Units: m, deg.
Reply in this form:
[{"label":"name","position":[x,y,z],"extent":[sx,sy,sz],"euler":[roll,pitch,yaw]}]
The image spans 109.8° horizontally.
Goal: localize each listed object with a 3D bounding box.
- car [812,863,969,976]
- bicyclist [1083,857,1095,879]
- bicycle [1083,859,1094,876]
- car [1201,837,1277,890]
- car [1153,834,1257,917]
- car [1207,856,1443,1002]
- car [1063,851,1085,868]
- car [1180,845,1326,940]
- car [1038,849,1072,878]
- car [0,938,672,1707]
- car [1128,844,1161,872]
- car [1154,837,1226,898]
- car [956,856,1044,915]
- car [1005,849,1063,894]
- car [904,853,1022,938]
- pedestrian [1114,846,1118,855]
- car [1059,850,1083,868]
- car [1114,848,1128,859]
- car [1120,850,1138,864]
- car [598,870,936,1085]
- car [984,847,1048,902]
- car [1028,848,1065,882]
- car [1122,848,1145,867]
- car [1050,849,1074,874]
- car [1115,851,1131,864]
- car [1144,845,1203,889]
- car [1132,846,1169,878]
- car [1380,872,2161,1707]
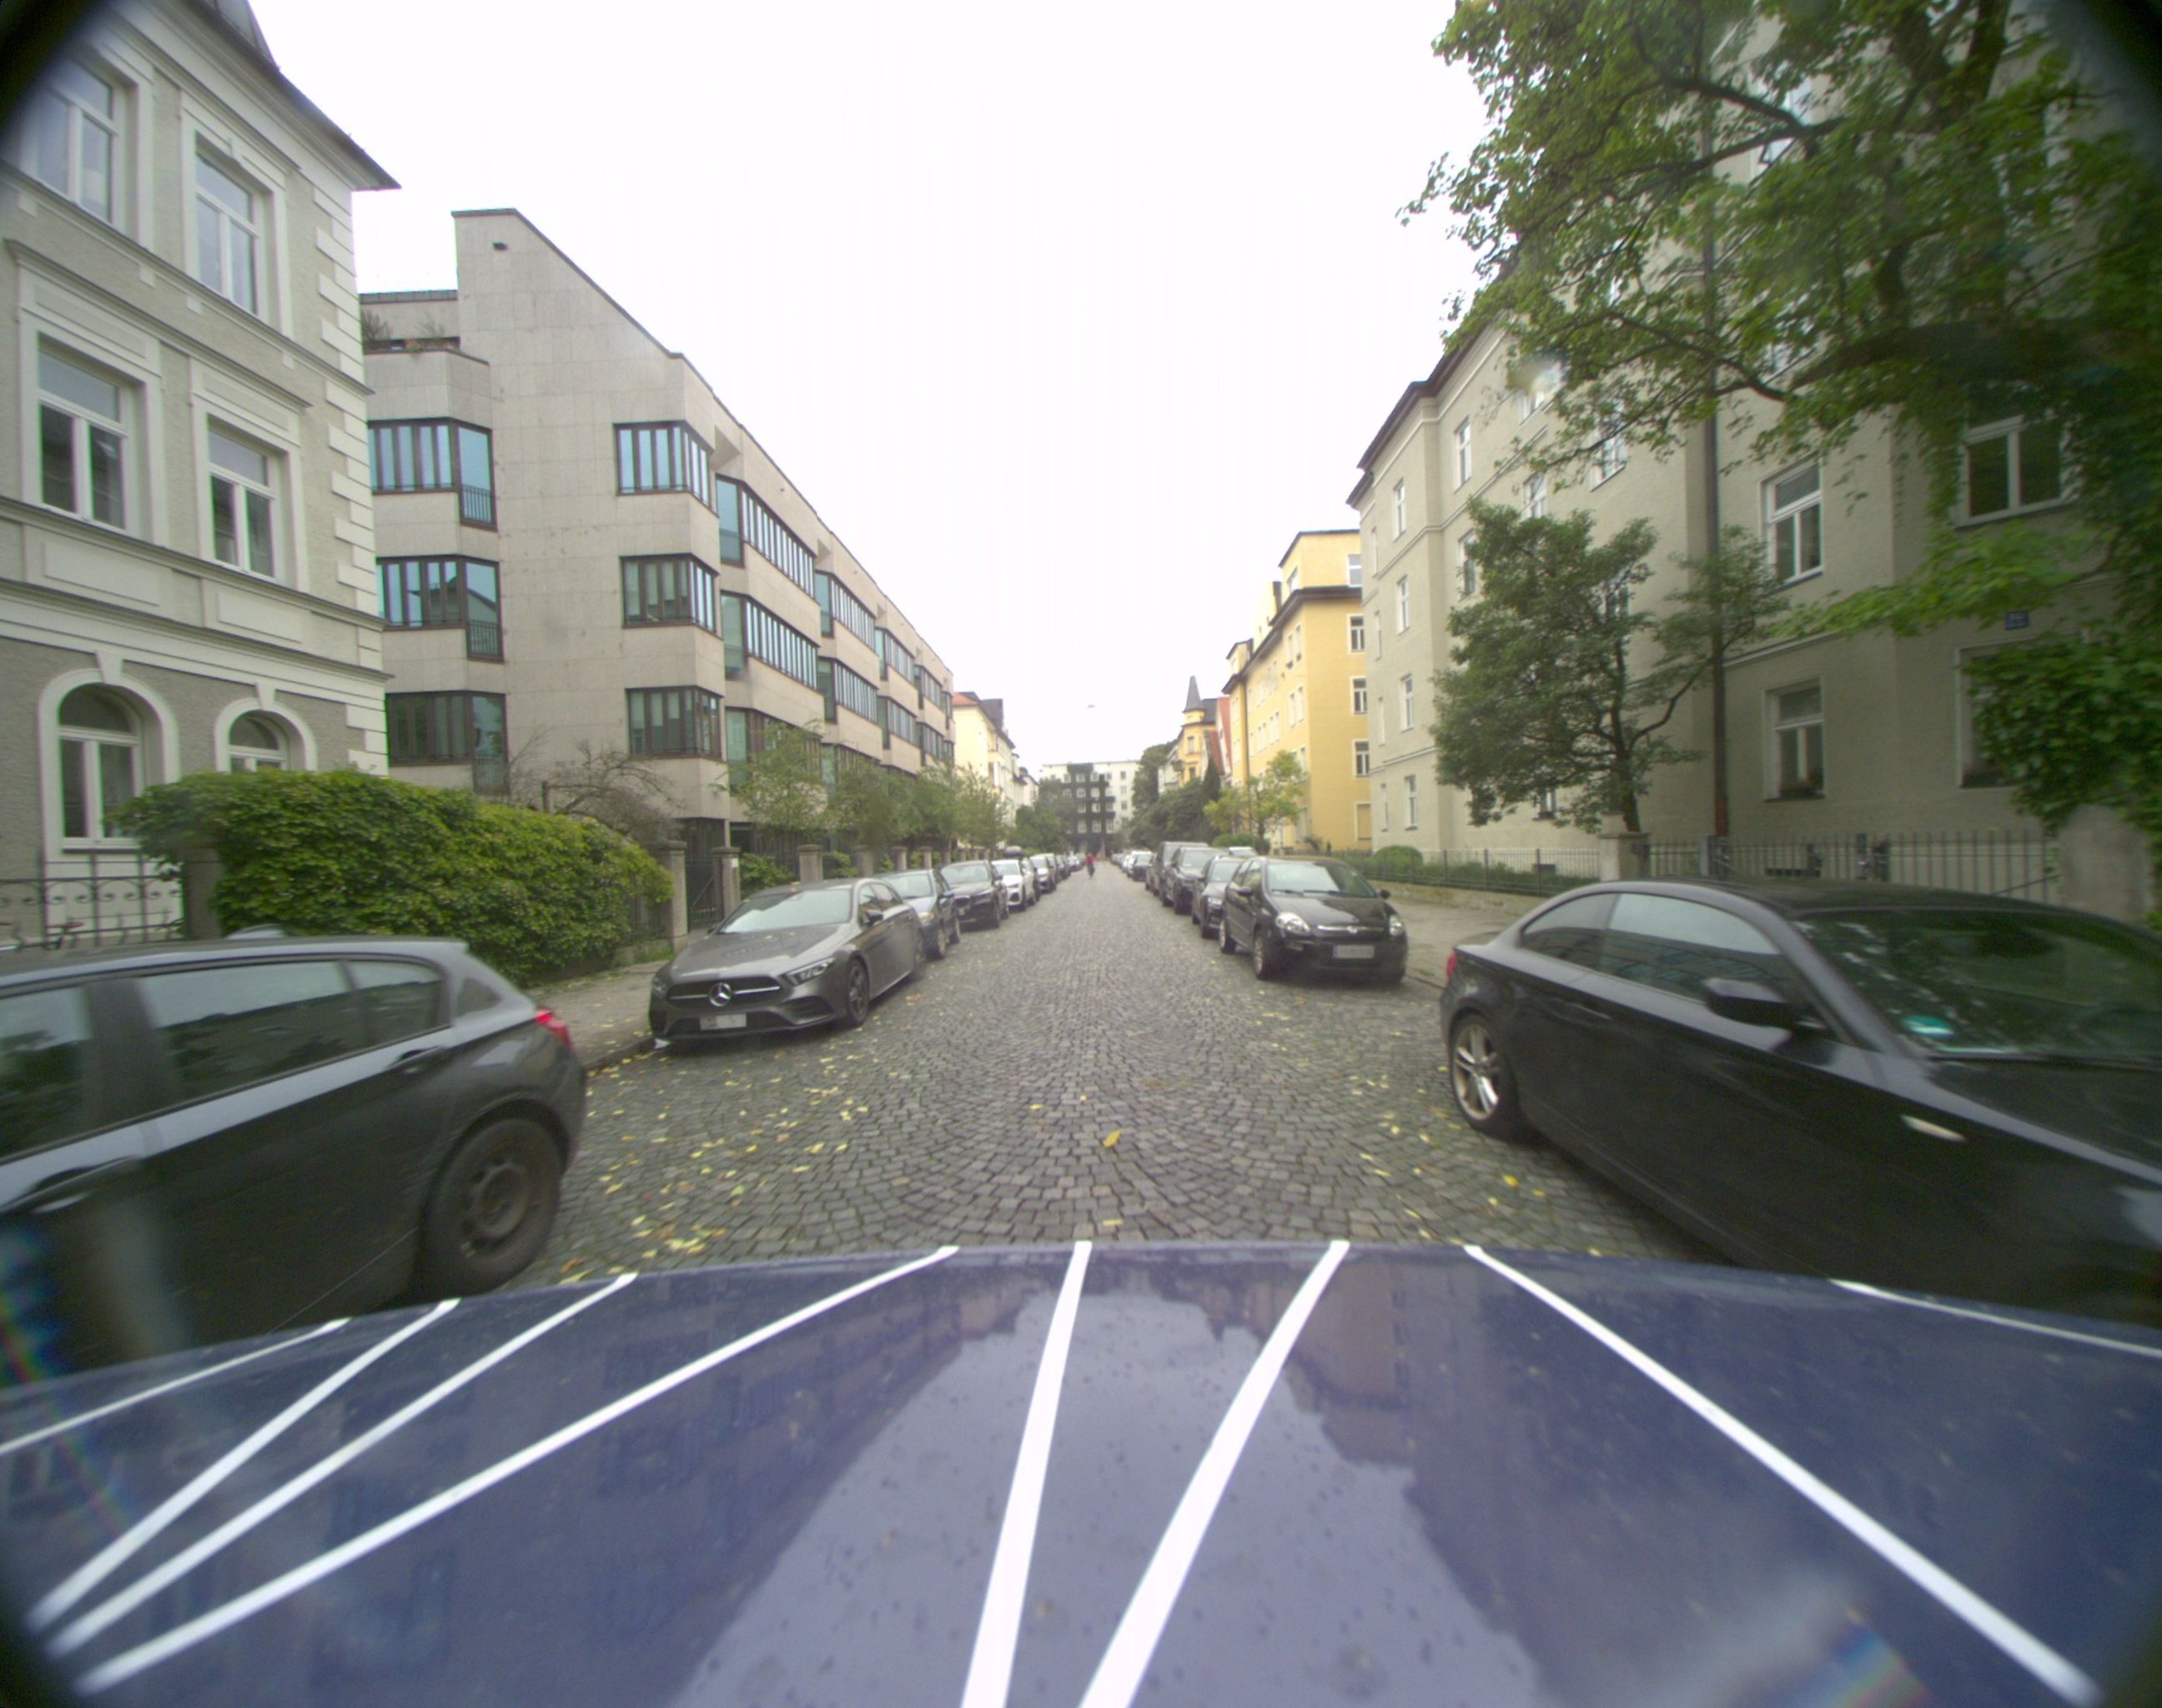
[{"label":"car","position":[-3.054,0.971,13.023],"extent":[1.698,1.432,4.060],"euler":[-5,0,-2]},{"label":"bicyclist","position":[0.514,0.891,48.544],"extent":[0.648,1.350,0.656],"euler":[-4,1,1]},{"label":"bicycle","position":[0.503,0.863,48.608],"extent":[0.636,1.021,1.955],"euler":[-3,1,1]},{"label":"car","position":[6.055,0.316,29.669],"extent":[1.950,1.725,4.657],"euler":[-5,0,1]},{"label":"car","position":[3.146,0.480,20.354],"extent":[1.998,1.906,5.177],"euler":[1,1,1]},{"label":"car","position":[2.890,0.786,9.994],"extent":[1.666,1.435,4.170],"euler":[-1,1,-1]},{"label":"car","position":[-0.701,0.558,80.689],"extent":[1.998,1.543,4.986],"euler":[-4,0,3]},{"label":"car","position":[3.188,0.624,15.137],"extent":[1.983,1.552,5.018],"euler":[-1,0,3]},{"label":"car","position":[-1.691,0.595,51.007],"extent":[1.865,1.692,4.813],"euler":[-5,0,2]},{"label":"car","position":[-3.118,1.256,1.596],"extent":[1.841,1.481,4.422],"euler":[-5,0,3]},{"label":"car","position":[4.276,0.253,51.651],"extent":[2.011,1.798,5.175],"euler":[-1,1,3]},{"label":"car","position":[3.664,0.408,26.265],"extent":[1.878,1.906,4.827],"euler":[0,1,1]},{"label":"car","position":[-2.383,0.901,23.597],"extent":[1.877,1.481,4.618],"euler":[-5,0,4]},{"label":"car","position":[-2.011,0.716,34.022],"extent":[1.877,1.725,4.892],"euler":[-4,0,3]},{"label":"car","position":[-2.713,0.888,18.626],"extent":[1.877,1.660,4.657],"euler":[-5,0,2]},{"label":"pedestrian","position":[7.684,-0.783,164.760],"extent":[0.701,1.905,0.863],"euler":[-4,1,4]},{"label":"car","position":[-0.977,0.503,75.475],"extent":[1.998,1.543,5.014],"euler":[-5,0,2]},{"label":"car","position":[5.835,-0.099,110.850],"extent":[1.846,1.577,4.192],"euler":[-1,1,0]},{"label":"car","position":[5.057,0.284,80.743],"extent":[1.819,1.447,4.913],"euler":[0,1,3]},{"label":"car","position":[-2.925,1.040,8.231],"extent":[1.717,1.464,4.268],"euler":[-5,0,1]},{"label":"car","position":[-2.363,0.700,28.730],"extent":[1.878,1.725,4.747],"euler":[-6,0,0]},{"label":"car","position":[-2.002,0.611,45.573],"extent":[1.793,1.786,4.509],"euler":[-6,0,0]},{"label":"car","position":[4.473,0.307,65.023],"extent":[1.718,1.553,4.390],"euler":[-1,1,2]},{"label":"car","position":[-1.456,0.553,59.570],"extent":[1.622,1.741,3.887],"euler":[-5,0,1]},{"label":"car","position":[5.426,0.438,98.548],"extent":[1.744,1.577,4.191],"euler":[-1,1,-1]},{"label":"car","position":[3.807,0.489,31.952],"extent":[1.870,1.725,4.403],"euler":[0,0,-1]},{"label":"car","position":[4.054,0.418,45.091],"extent":[1.922,1.725,4.756],"euler":[2,1,2]},{"label":"car","position":[2.884,0.851,2.833],"extent":[1.787,1.409,4.496],"euler":[1,0,1]}]
